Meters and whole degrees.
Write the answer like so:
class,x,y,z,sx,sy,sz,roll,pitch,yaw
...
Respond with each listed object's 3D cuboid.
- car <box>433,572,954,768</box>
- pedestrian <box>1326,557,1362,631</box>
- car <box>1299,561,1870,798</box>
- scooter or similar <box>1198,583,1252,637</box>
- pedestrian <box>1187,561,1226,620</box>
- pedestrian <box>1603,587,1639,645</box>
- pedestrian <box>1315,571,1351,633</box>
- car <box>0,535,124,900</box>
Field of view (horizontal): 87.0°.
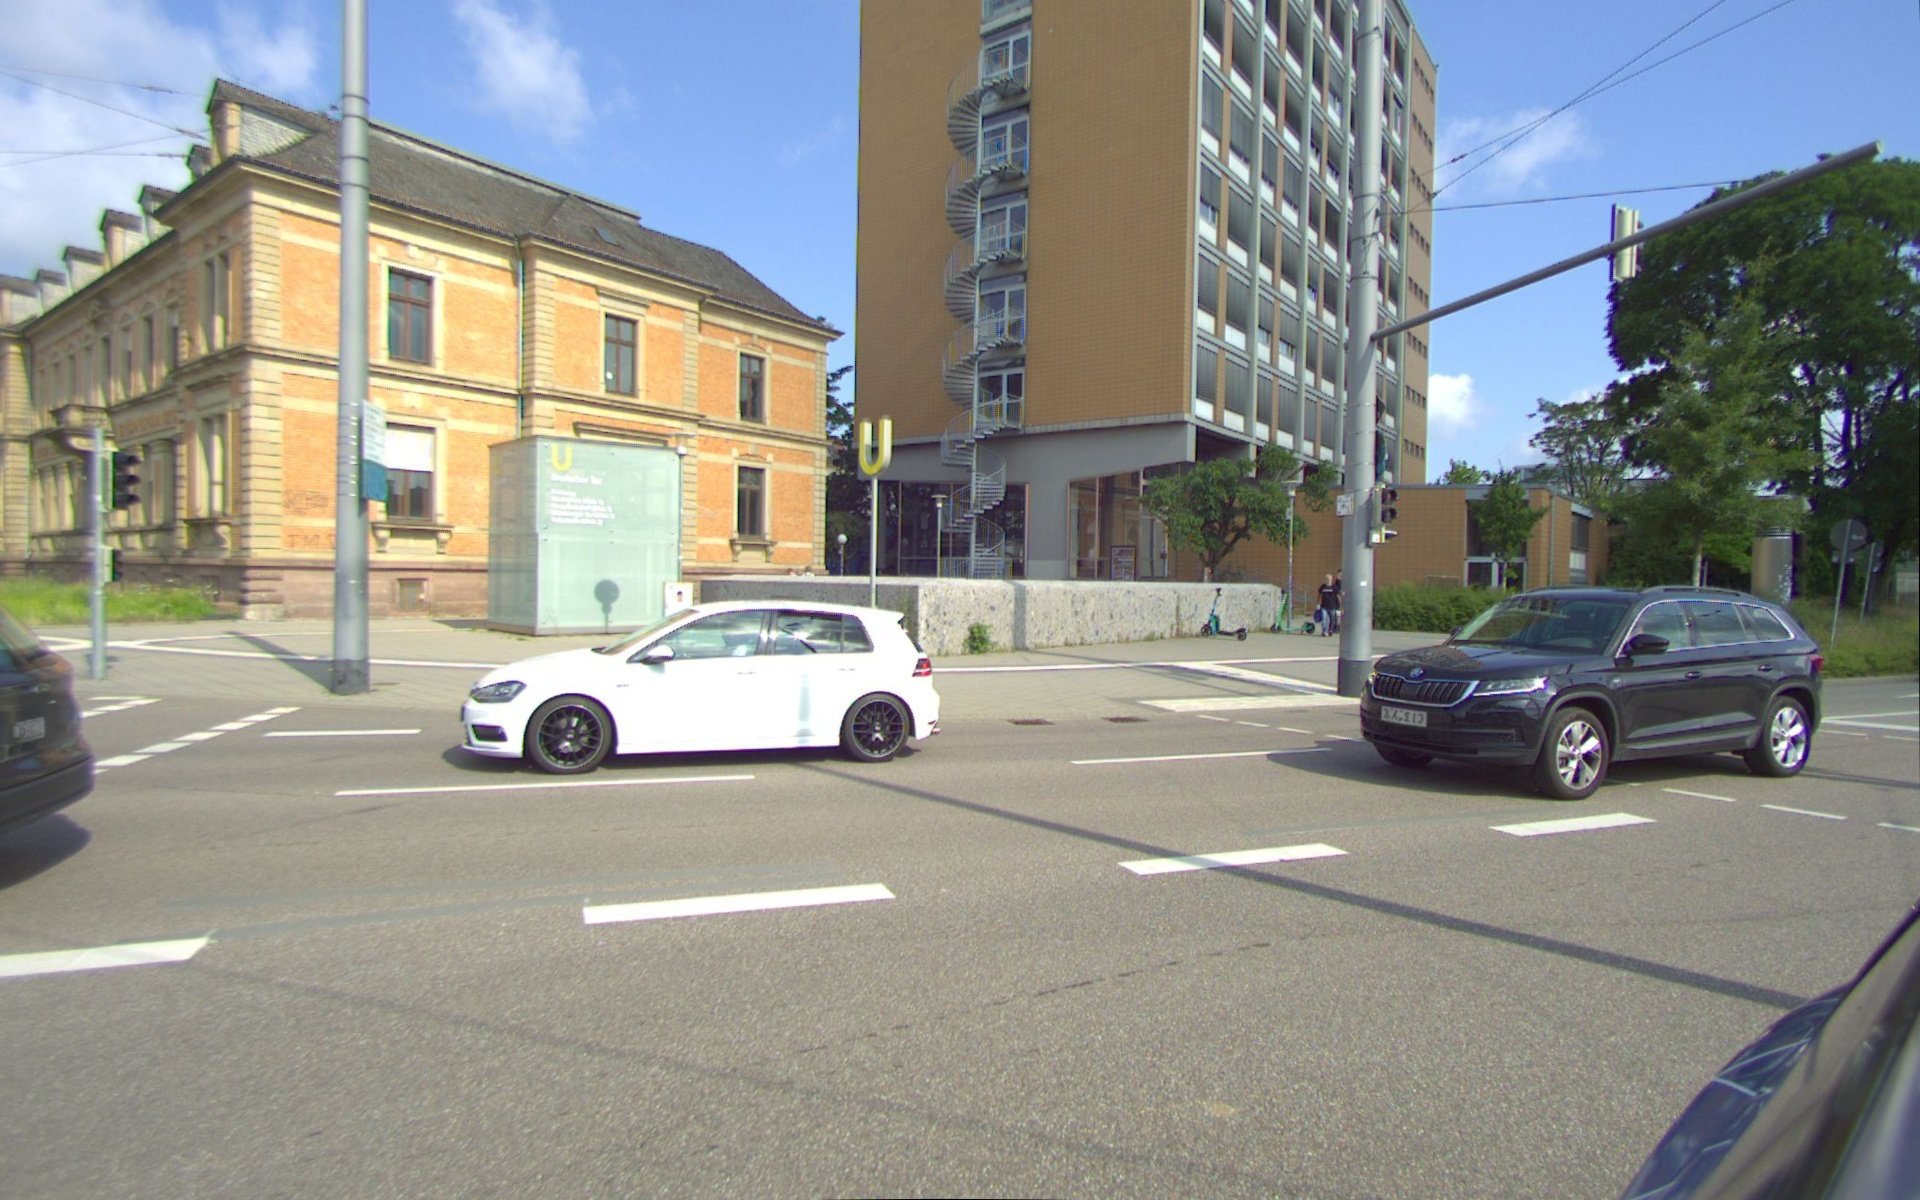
class,x,y,z,sx,sy,sz,roll,pitch,yaw
car,-2.308,0.601,9.134,4.143,1.464,1.687,2,-1,-22
pedestrian,11.109,-0.191,29.272,0.796,2.037,0.722,2,4,15
car,5.545,0.595,9.016,4.585,1.690,2.003,0,-1,-22
scooter or similar,6.436,0.233,24.603,1.182,1.211,0.397,4,4,41
pedestrian,7.223,-0.297,29.653,0.923,1.606,0.764,4,5,7
pedestrian,18.069,0.422,27.669,0.570,1.538,0.480,1,3,2
pedestrian,9.805,0.040,26.603,0.766,1.608,0.757,1,1,29
car,-6.212,0.483,3.978,4.167,1.548,1.776,0,0,-24
